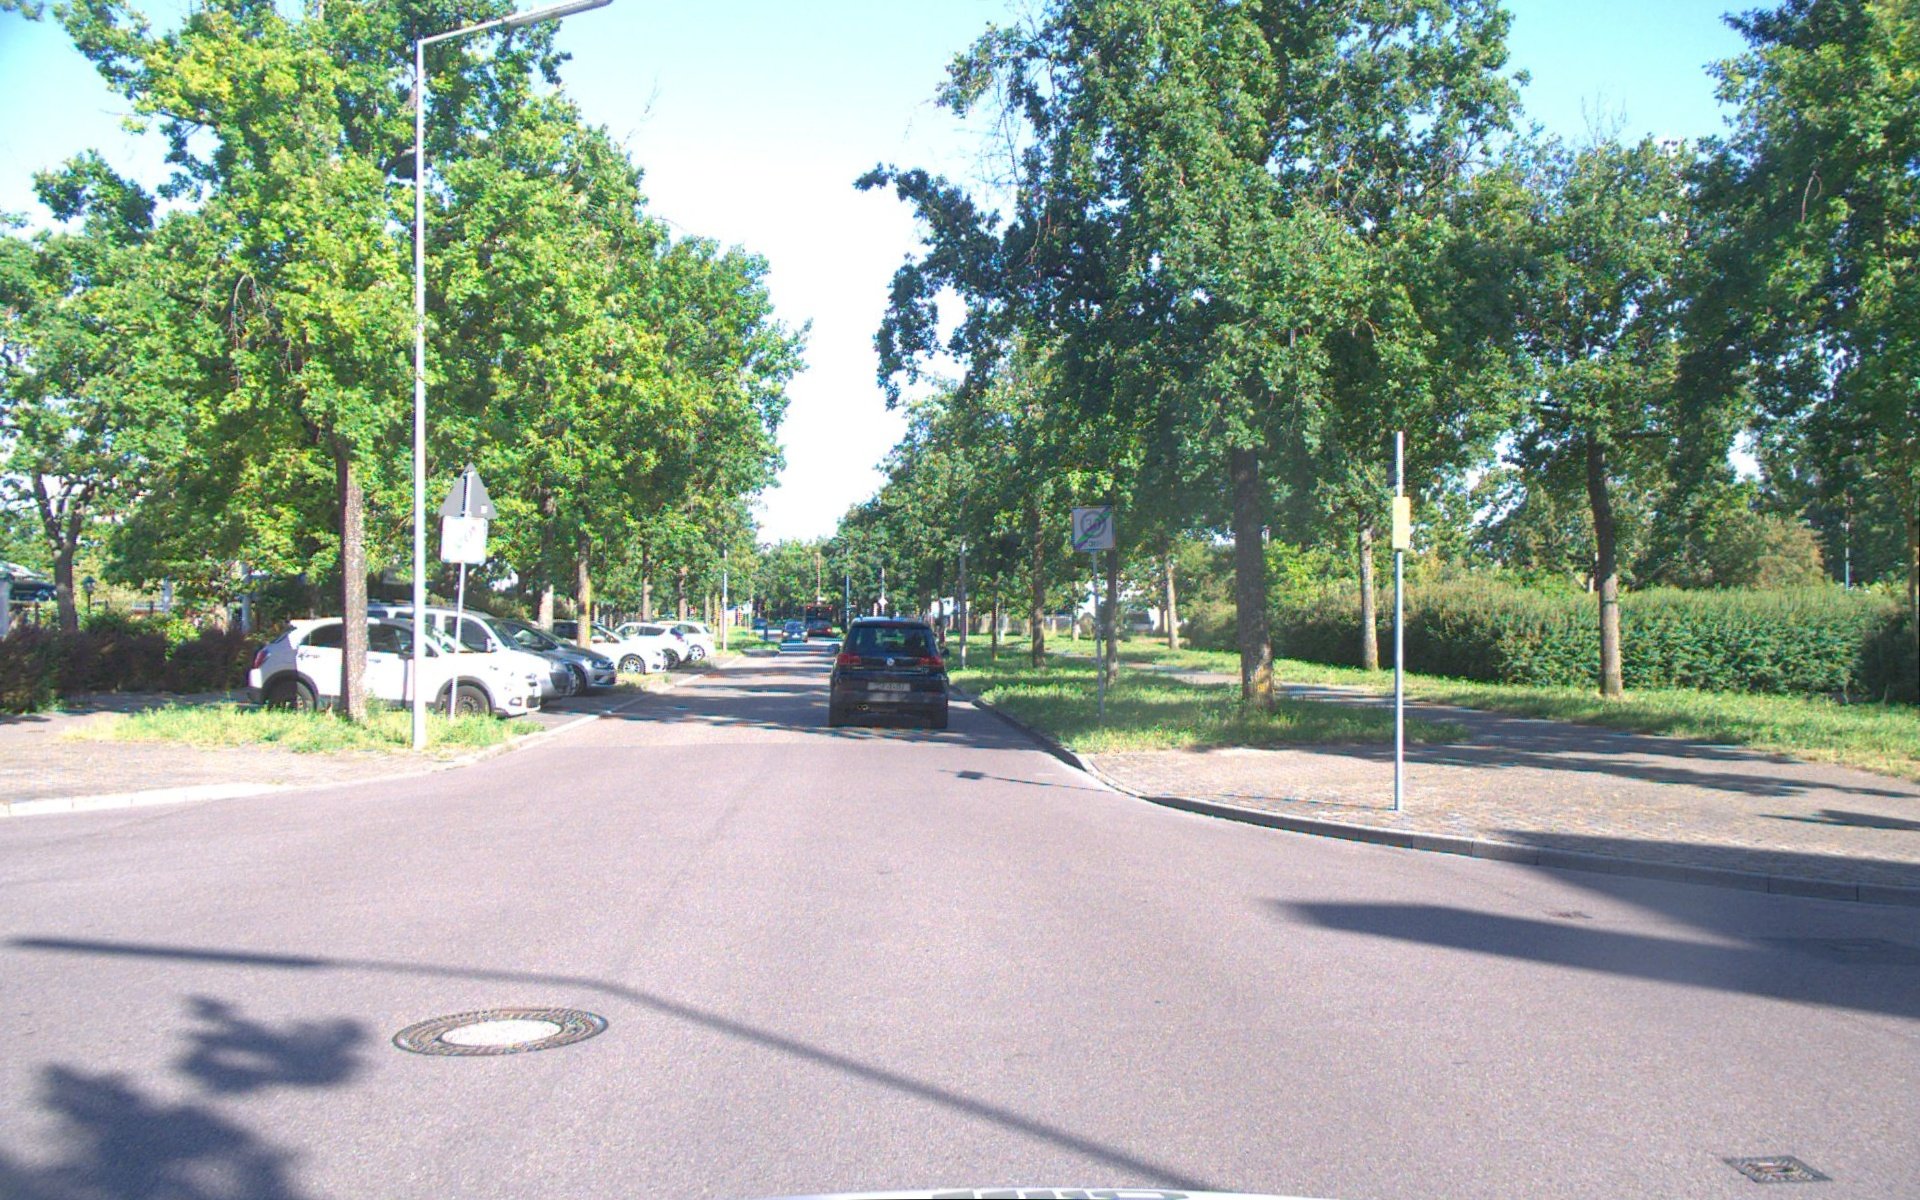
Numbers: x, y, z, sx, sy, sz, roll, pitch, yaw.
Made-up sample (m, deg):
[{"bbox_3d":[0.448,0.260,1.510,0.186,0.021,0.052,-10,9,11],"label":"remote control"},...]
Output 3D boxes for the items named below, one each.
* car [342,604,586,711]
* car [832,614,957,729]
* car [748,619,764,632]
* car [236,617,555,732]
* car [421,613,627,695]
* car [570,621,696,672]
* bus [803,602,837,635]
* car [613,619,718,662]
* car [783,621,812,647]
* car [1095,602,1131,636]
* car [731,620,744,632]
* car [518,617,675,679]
[{"bbox_3d":[-9.001,1.015,30.281,3.936,1.872,1.895,0,0,-3],"label":"car"},{"bbox_3d":[-1.030,1.063,26.139,1.801,1.665,3.956,1,0,-2],"label":"car"},{"bbox_3d":[-25.593,3.190,207.598,1.789,1.579,3.686,0,0,-3],"label":"car"},{"bbox_3d":[-8.405,1.090,24.919,4.157,1.651,1.895,0,-1,-3],"label":"car"},{"bbox_3d":[-9.233,1.134,35.300,3.936,1.676,1.895,0,0,-3],"label":"car"},{"bbox_3d":[-10.974,1.549,55.696,3.936,1.676,1.810,0,-1,-3],"label":"car"},{"bbox_3d":[-13.040,1.775,154.584,2.870,3.056,5.733,0,-1,-3],"label":"bus"},{"bbox_3d":[-11.763,1.600,66.343,3.936,1.676,1.810,0,0,-3],"label":"car"},{"bbox_3d":[-11.281,2.341,115.002,1.815,1.723,3.953,0,0,-3],"label":"car"},{"bbox_3d":[9.591,1.169,103.720,2.011,2.049,4.001,0,0,2],"label":"car"},{"bbox_3d":[-33.889,3.937,252.001,1.780,1.806,3.773,0,-1,-5],"label":"car"},{"bbox_3d":[-9.905,1.304,45.303,3.936,1.676,1.810,0,-1,-3],"label":"car"}]
